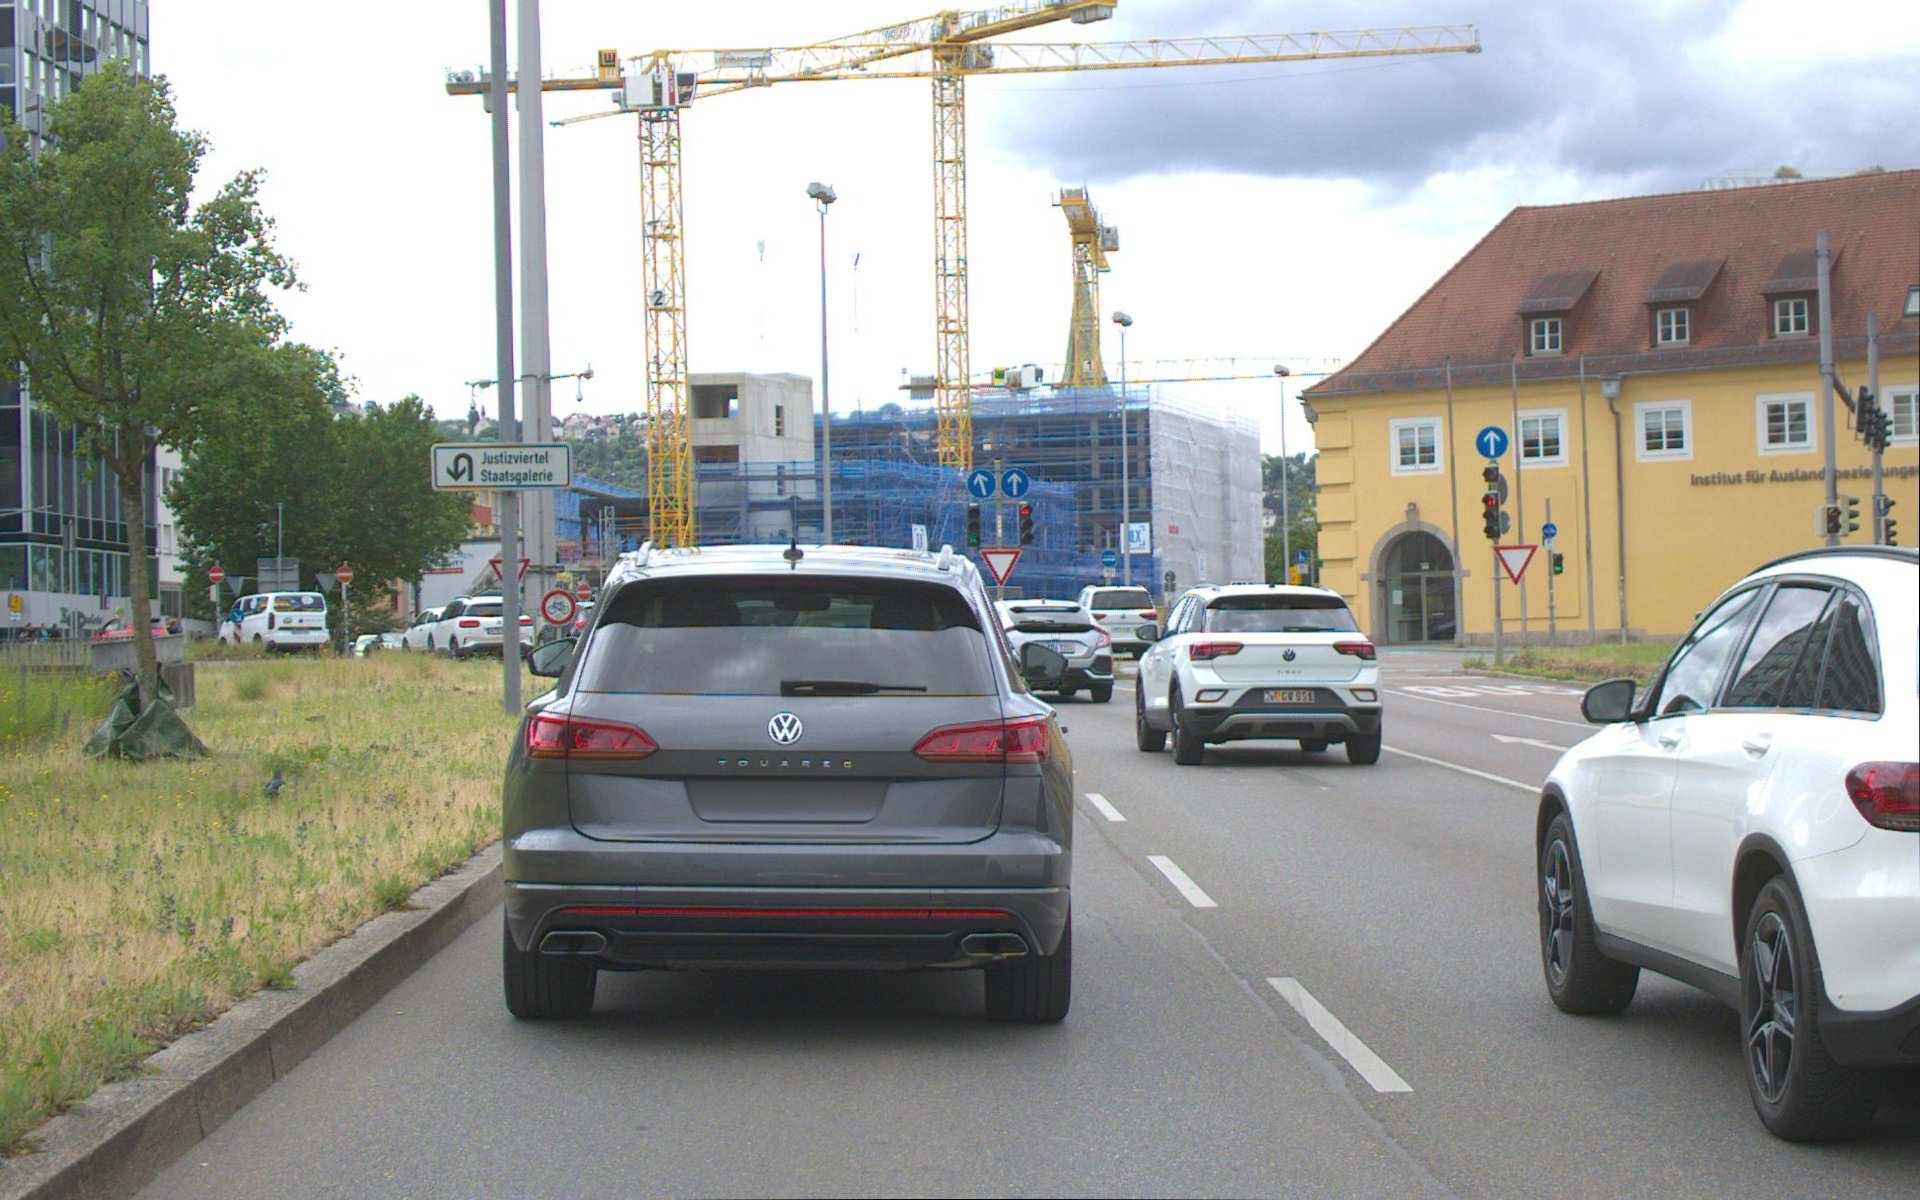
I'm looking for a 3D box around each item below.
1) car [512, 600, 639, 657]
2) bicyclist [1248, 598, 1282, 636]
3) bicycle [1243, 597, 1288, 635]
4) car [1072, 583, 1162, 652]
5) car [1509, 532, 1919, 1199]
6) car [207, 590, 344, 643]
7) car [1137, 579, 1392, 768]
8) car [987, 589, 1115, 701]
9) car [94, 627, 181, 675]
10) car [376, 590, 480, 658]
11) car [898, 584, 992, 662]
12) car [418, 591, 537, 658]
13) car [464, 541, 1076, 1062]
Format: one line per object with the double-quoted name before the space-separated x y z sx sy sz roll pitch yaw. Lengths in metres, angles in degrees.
"car" -9.583 0.693 85.492 1.640 1.392 3.597 0 0 -35
"bicyclist" 9.358 0.516 105.372 0.923 1.155 0.725 0 0 -5
"bicycle" 9.362 0.498 105.368 0.923 1.155 2.465 0 0 -5
"car" 3.506 0.375 77.563 1.803 1.497 3.981 0 0 -1
"car" 3.020 0.636 10.646 1.819 1.641 4.379 0 0 -2
"car" -20.132 0.462 101.011 2.245 1.497 4.610 0 0 -35
"car" 2.662 0.608 30.816 1.893 1.580 3.801 0 0 -1
"car" 1.245 0.598 48.655 1.719 1.497 4.144 0 0 0
"car" -26.449 1.618 110.466 1.718 1.497 3.981 0 0 -29
"car" -15.510 0.673 100.085 1.894 1.605 4.001 -3 5 -25
"car" -0.269 0.439 68.100 1.719 1.497 3.981 0 0 2
"car" -11.199 0.536 79.548 1.814 1.491 3.907 0 0 -22
"car" -0.638 0.625 12.904 1.933 1.641 4.000 0 0 -1
